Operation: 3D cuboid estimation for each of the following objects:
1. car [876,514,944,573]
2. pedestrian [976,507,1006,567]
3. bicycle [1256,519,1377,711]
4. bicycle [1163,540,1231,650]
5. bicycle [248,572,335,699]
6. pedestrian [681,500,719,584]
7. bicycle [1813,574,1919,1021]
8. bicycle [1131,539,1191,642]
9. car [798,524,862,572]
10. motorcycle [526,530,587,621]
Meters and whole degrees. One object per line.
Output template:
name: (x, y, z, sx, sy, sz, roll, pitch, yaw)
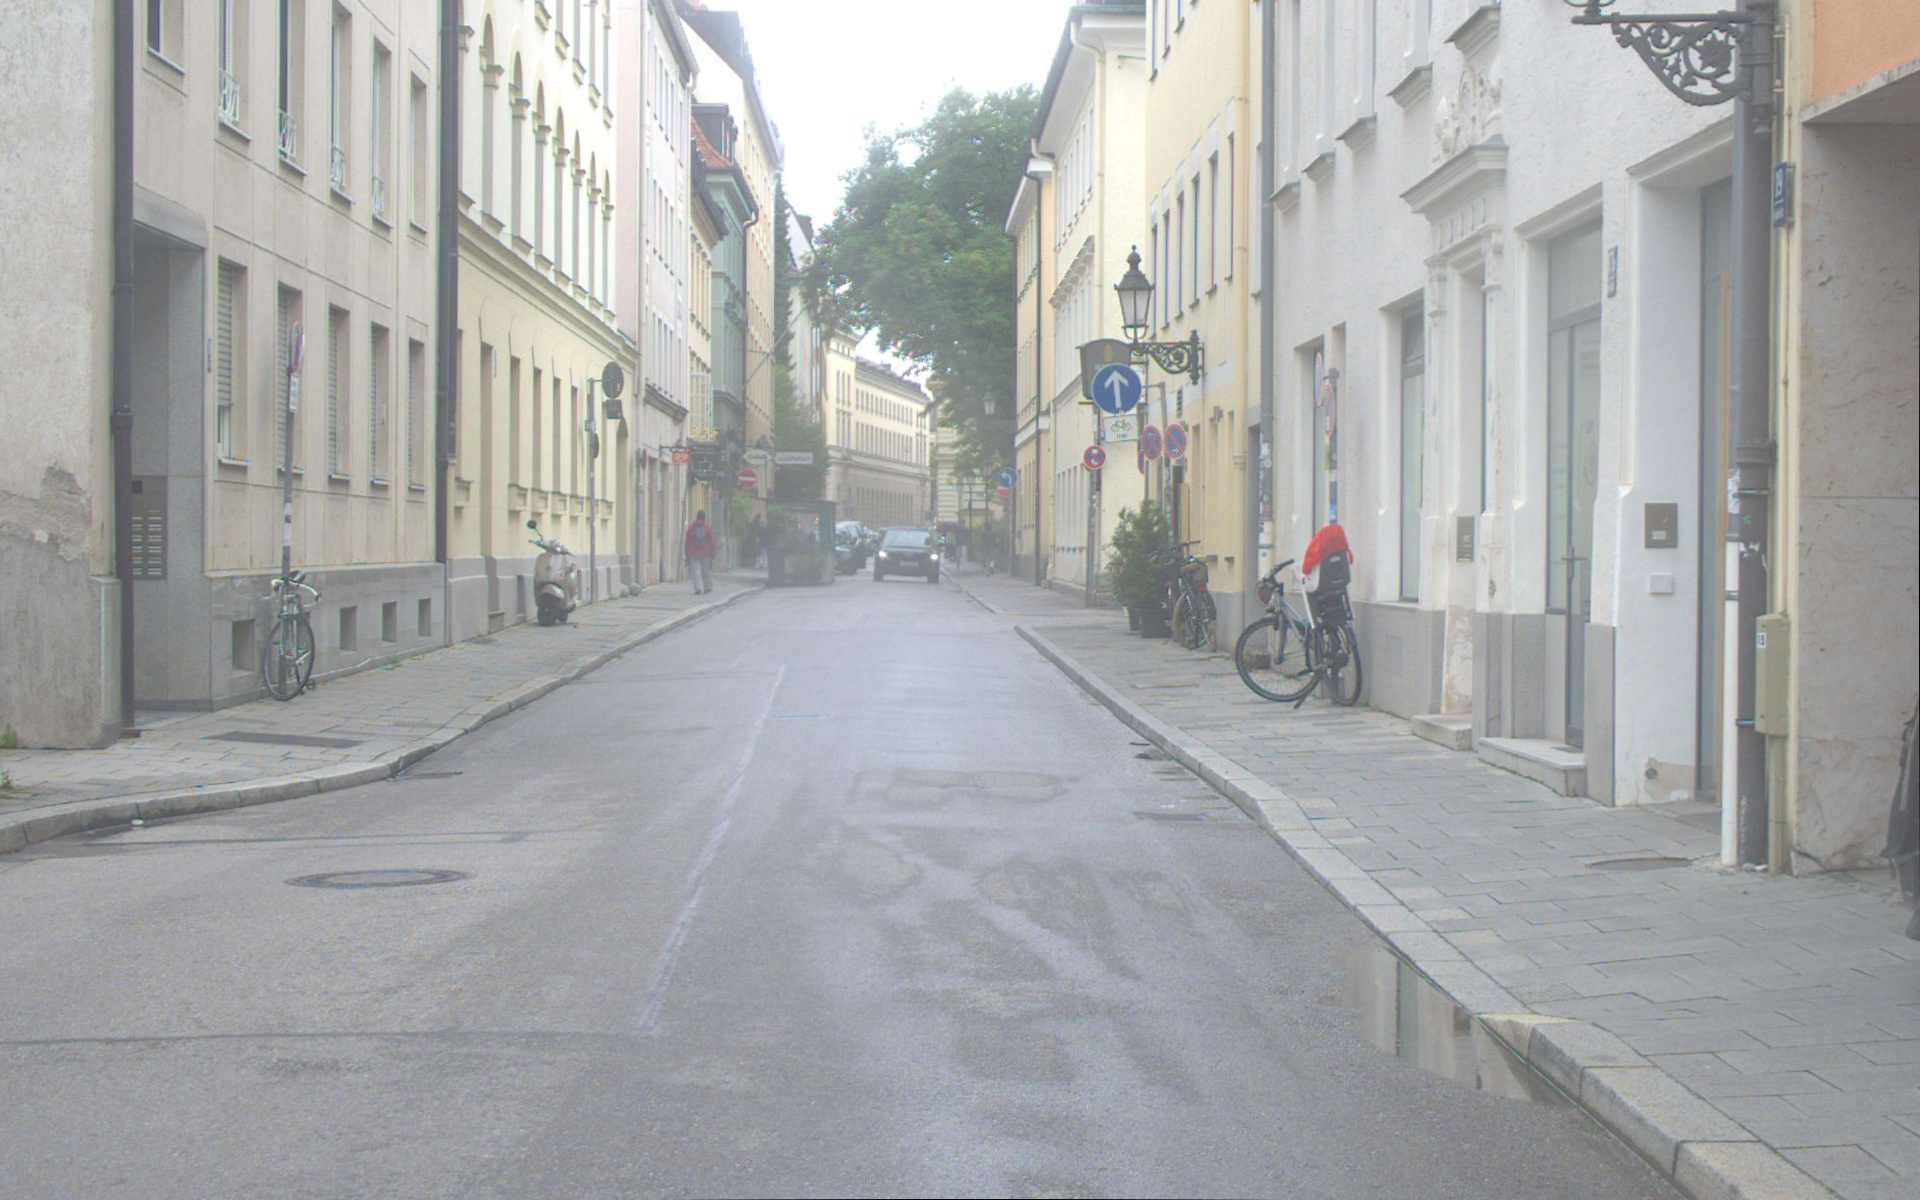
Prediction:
car: (-1.420, -1.584, 95.896, 1.812, 1.588, 4.001, 0, 1, -2)
pedestrian: (0.934, -1.906, 104.385, 0.880, 1.796, 1.046, 1, 1, 0)
bicycle: (2.730, 0.090, 26.532, 0.713, 1.391, 2.122, -2, 1, 1)
bicycle: (2.586, -0.071, 37.618, 0.565, 1.133, 1.988, -2, 1, 0)
bicycle: (-5.314, 0.269, 27.387, 0.320, 0.940, 1.574, 3, 1, 1)
pedestrian: (-5.295, -1.178, 70.029, 0.765, 1.702, 0.785, 0, 1, -3)
bicycle: (3.042, 0.575, 9.594, 0.679, 1.236, 2.382, -4, 2, 1)
bicycle: (2.321, -0.123, 39.835, 0.565, 1.133, 1.684, -2, 1, 0)
car: (-4.106, -1.660, 108.979, 1.779, 1.461, 3.663, 1, 1, 2)
motorcycle: (-5.347, -0.341, 45.607, 0.602, 1.170, 1.709, 1, 1, -1)
